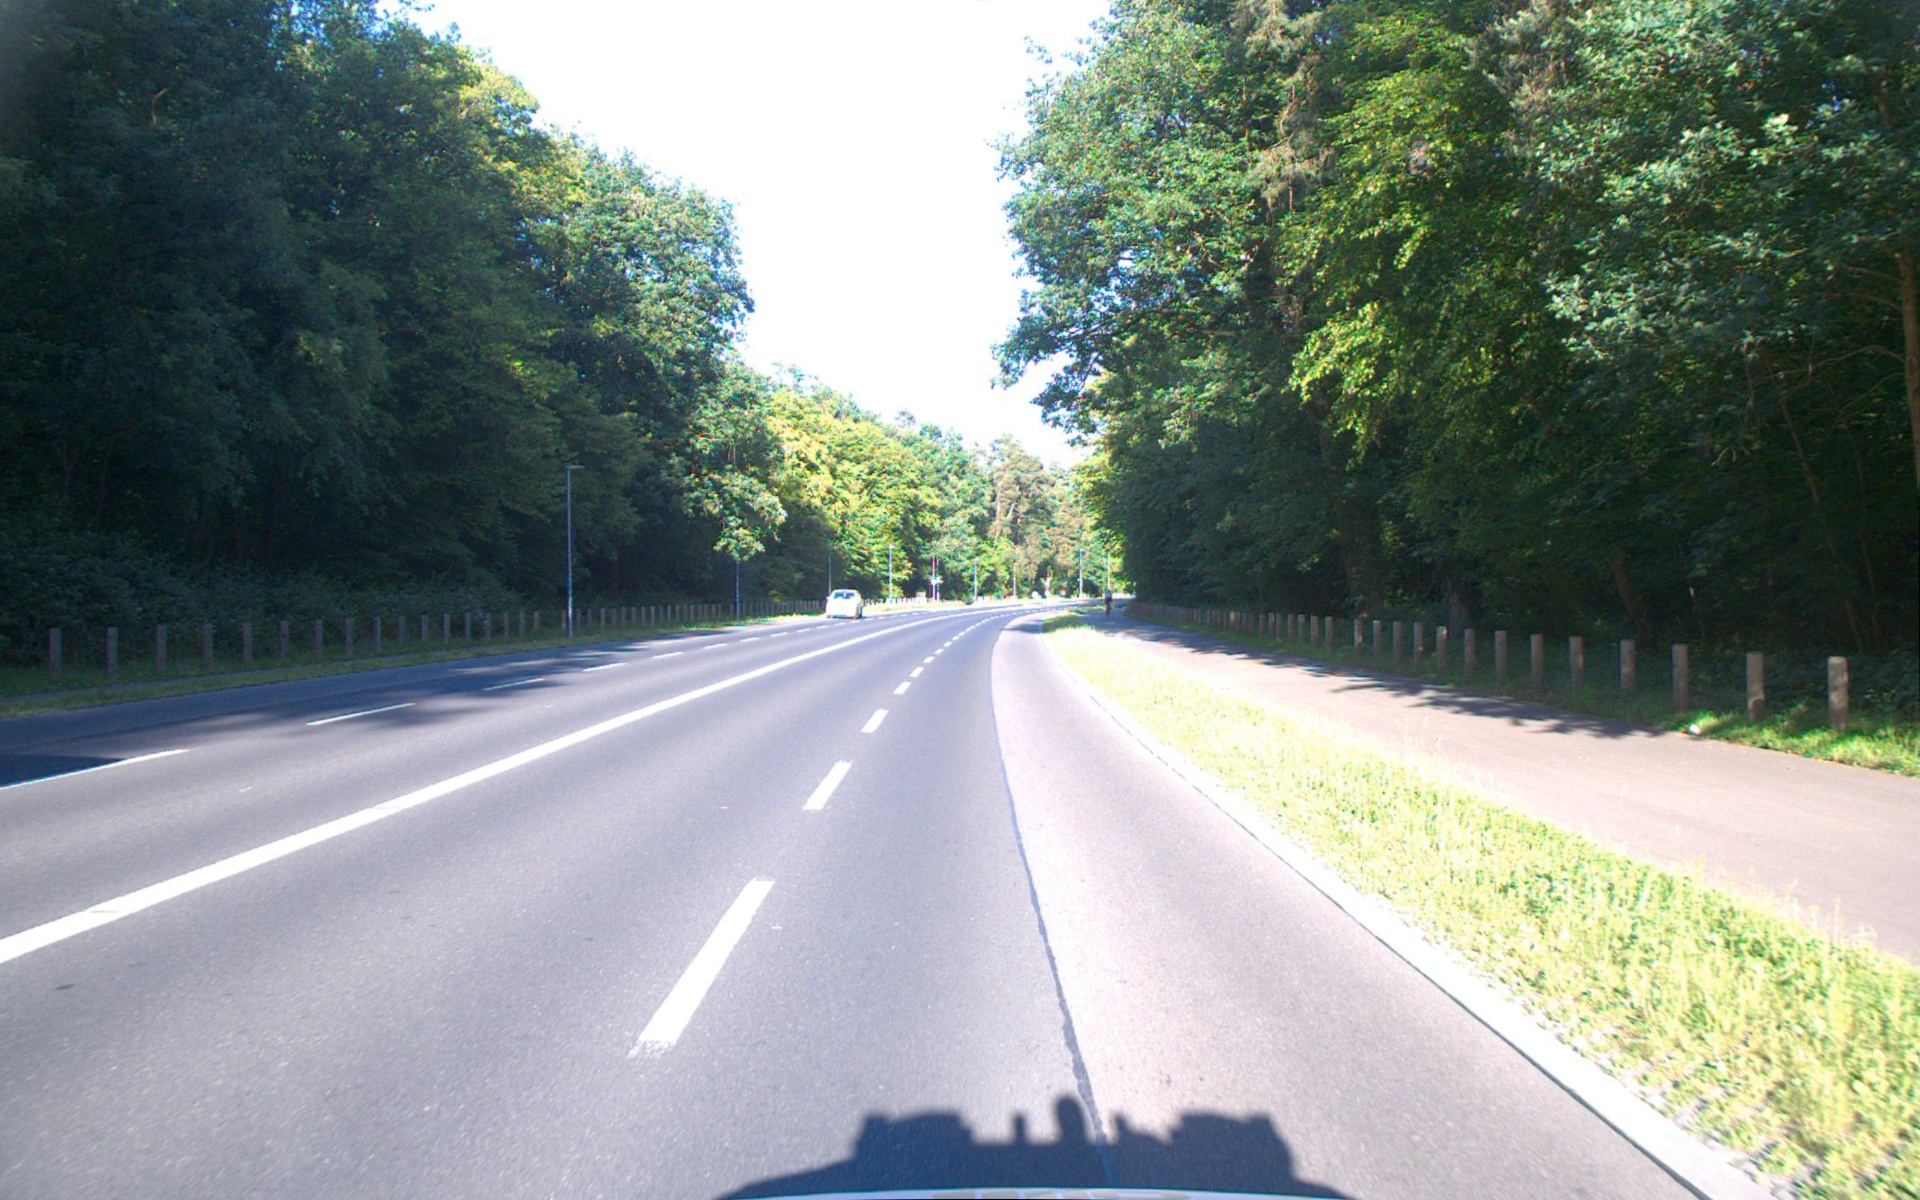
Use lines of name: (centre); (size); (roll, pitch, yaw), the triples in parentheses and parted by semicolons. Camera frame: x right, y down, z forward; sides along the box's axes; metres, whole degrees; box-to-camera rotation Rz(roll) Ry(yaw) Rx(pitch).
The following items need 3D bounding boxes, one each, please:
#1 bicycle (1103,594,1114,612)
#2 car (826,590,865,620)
bicycle: (9.392, 0.184, 104.668); (0.697, 1.074, 2.054); (0, 0, 4)
car: (-6.041, 0.236, 87.508); (1.554, 1.462, 4.310); (2, 0, 2)
